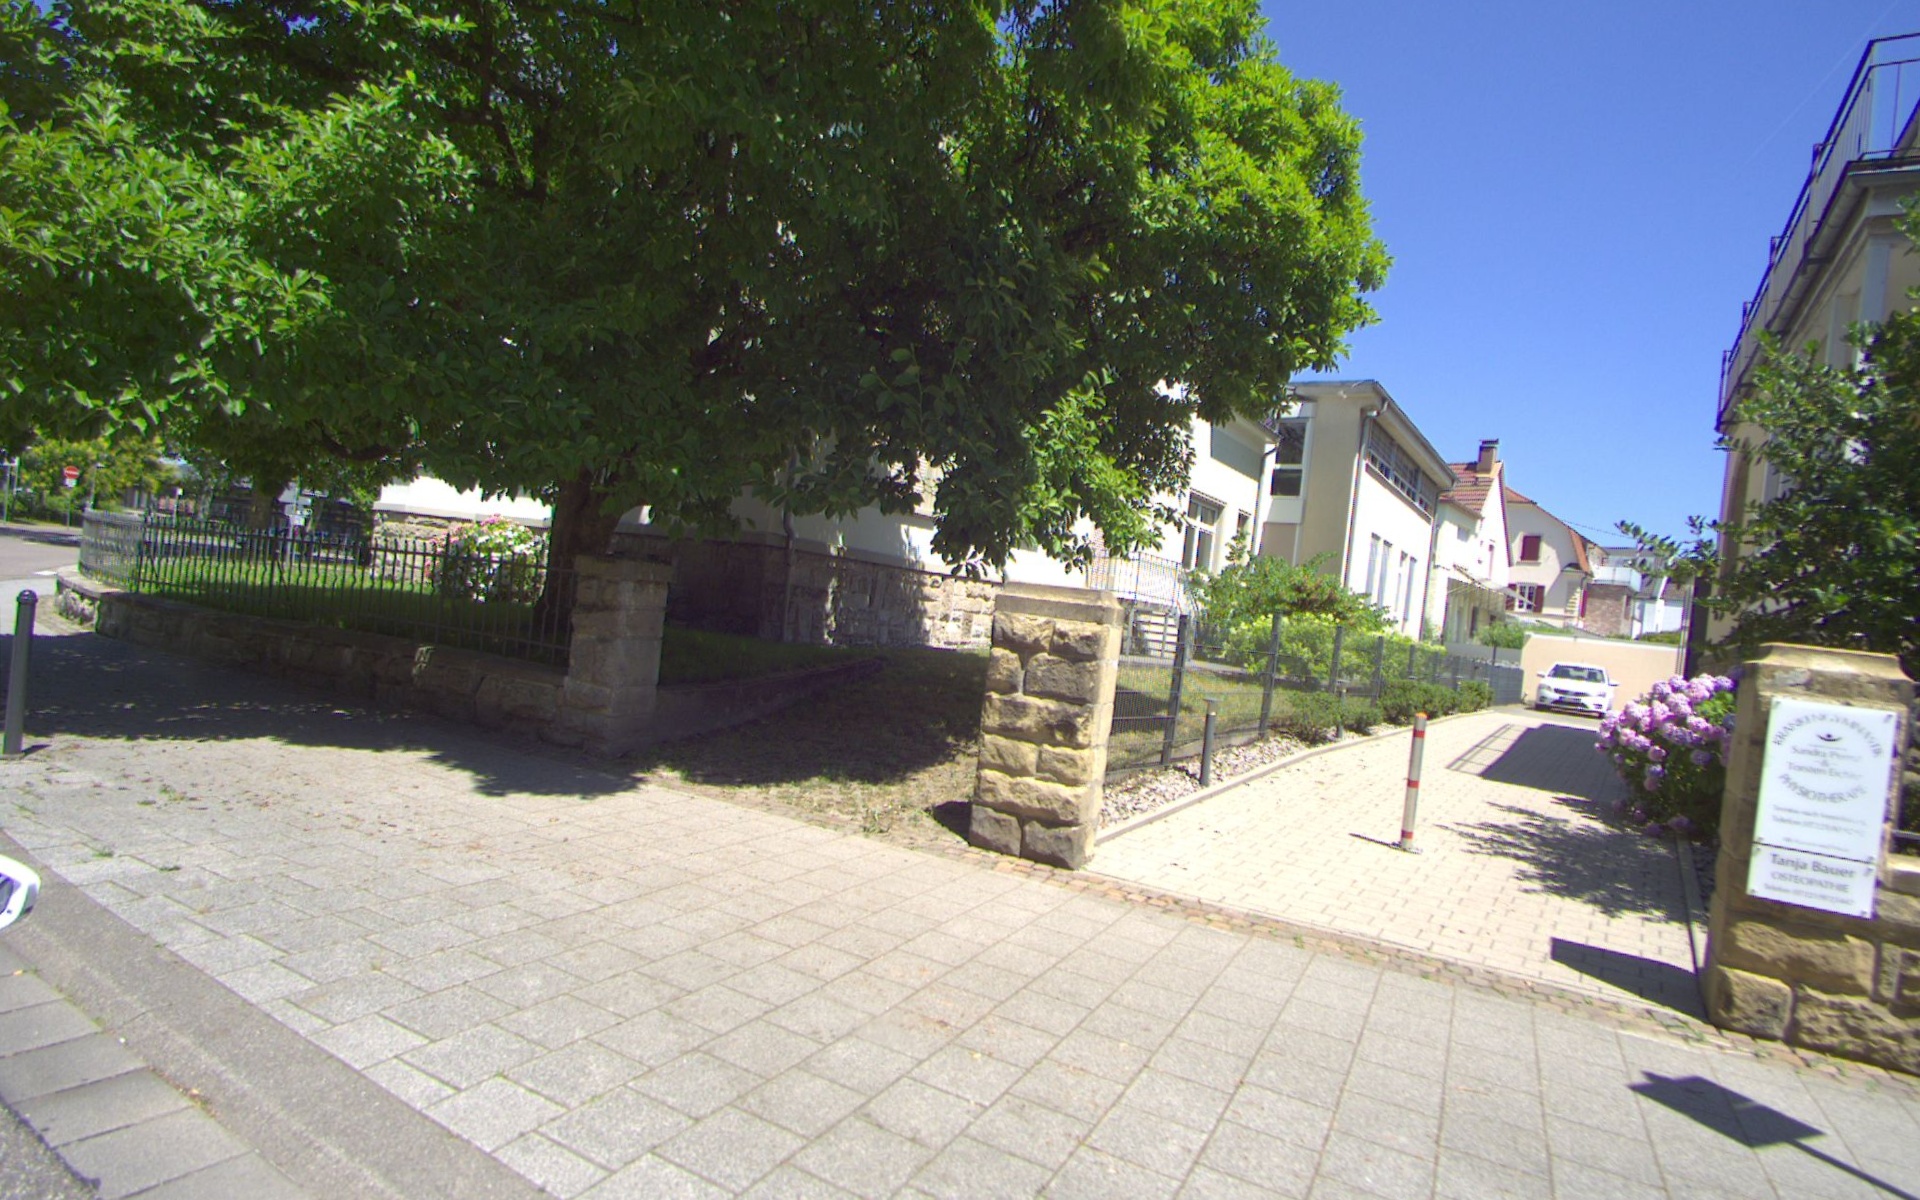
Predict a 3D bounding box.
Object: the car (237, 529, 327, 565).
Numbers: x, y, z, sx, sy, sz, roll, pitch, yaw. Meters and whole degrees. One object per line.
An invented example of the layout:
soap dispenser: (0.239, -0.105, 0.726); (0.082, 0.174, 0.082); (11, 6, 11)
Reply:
car: (-41.100, -3.179, 61.139); (1.791, 1.595, 4.478); (7, -1, 11)

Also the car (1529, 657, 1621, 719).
car: (17.702, 2.556, 28.874); (1.758, 1.437, 4.036); (7, -1, 37)
